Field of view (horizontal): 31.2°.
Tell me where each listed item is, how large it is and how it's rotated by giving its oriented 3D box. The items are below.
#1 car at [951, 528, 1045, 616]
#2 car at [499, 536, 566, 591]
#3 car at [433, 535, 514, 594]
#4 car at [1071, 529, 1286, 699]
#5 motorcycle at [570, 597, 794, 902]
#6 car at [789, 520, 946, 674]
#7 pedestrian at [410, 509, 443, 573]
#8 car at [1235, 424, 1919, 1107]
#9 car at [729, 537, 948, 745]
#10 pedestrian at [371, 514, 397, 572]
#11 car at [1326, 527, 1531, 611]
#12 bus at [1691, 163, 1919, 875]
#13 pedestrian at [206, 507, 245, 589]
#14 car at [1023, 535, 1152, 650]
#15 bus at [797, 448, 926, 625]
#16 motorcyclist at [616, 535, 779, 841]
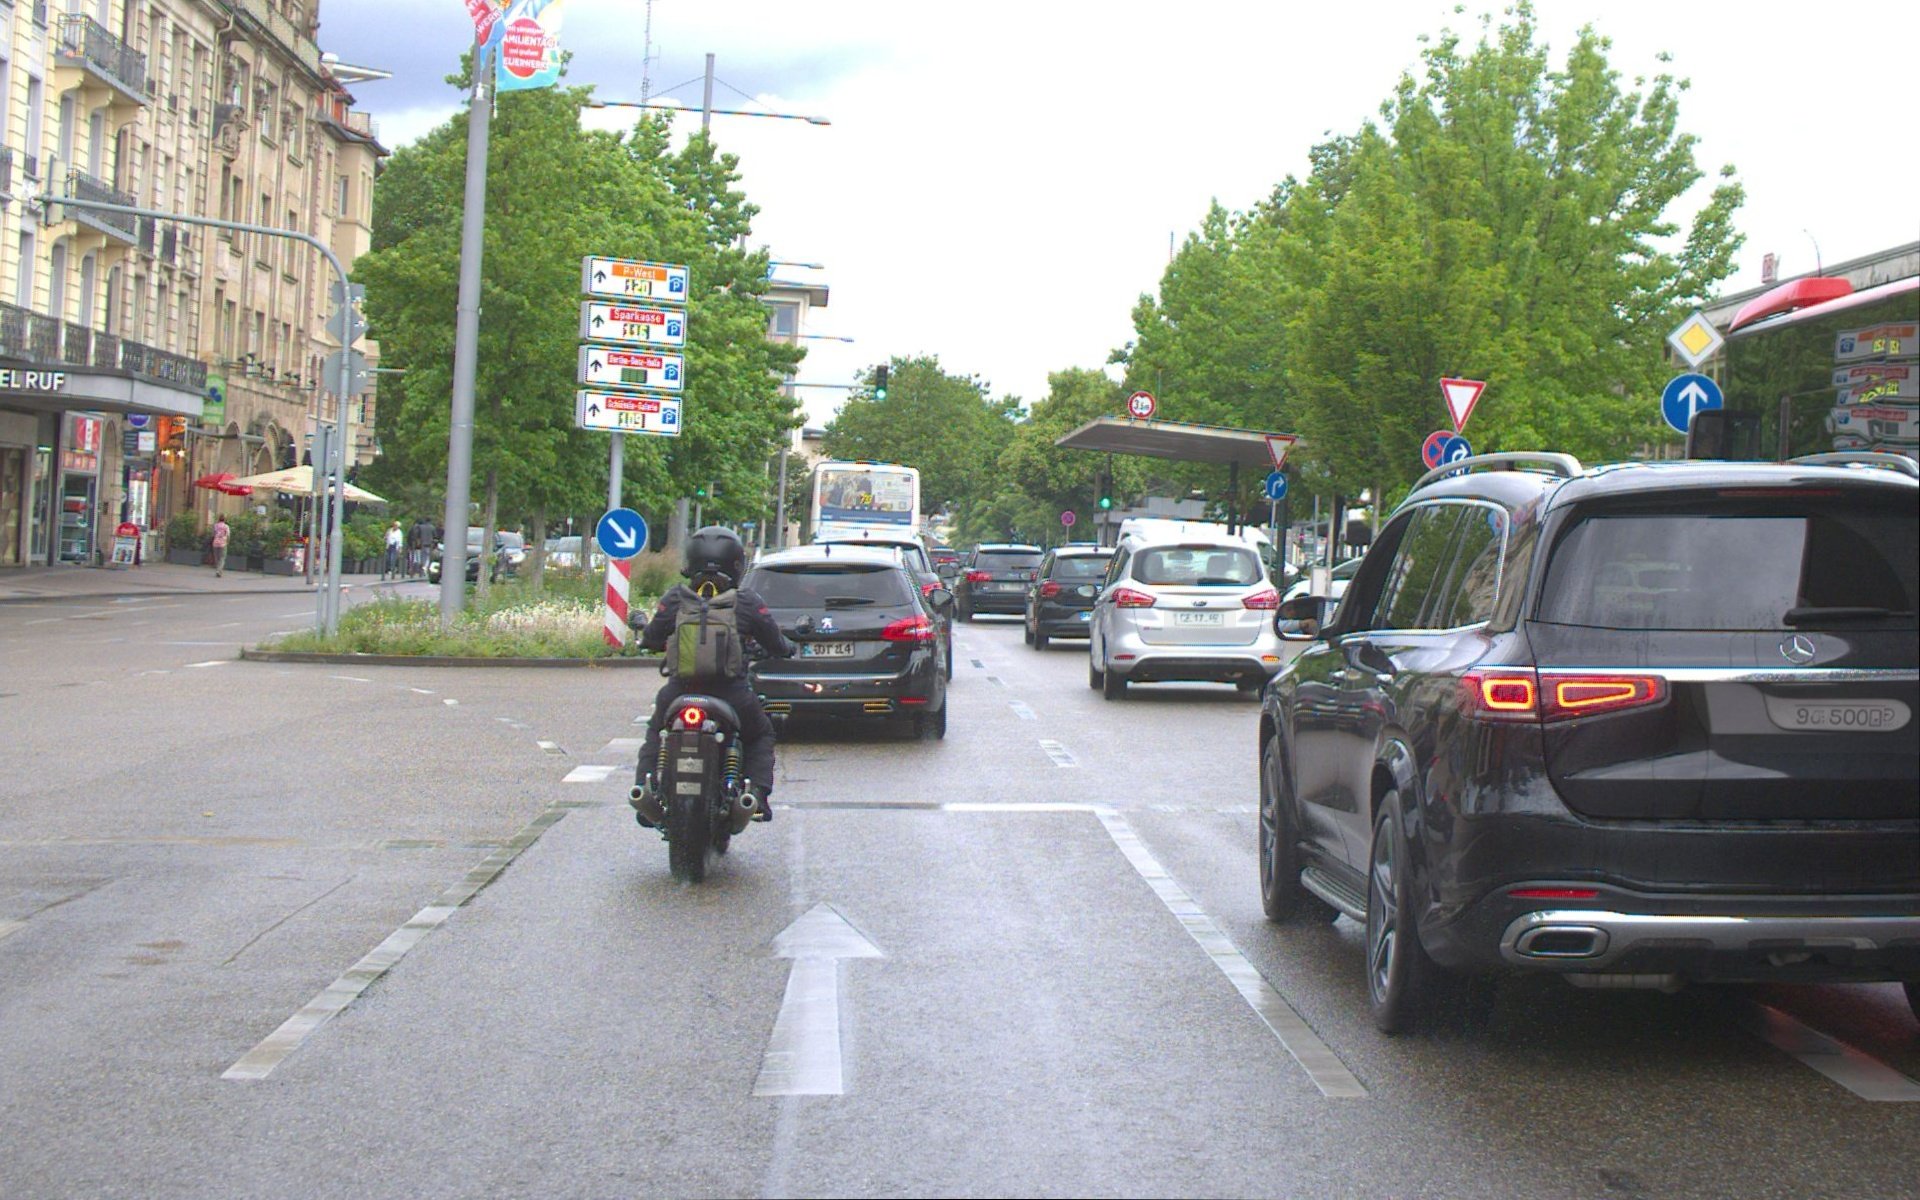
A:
[{"bbox_3d":[0.675,-0.538,62.869,1.575,1.562,3.796,0,1,-2],"label":"car"},{"bbox_3d":[-12.272,-1.069,98.849,1.575,1.562,3.430,0,1,-2],"label":"car"},{"bbox_3d":[-13.068,-0.976,92.520,1.780,1.562,3.430,0,1,-2],"label":"car"},{"bbox_3d":[2.067,0.094,33.467,1.741,1.562,3.871,0,1,-2],"label":"car"},{"bbox_3d":[-1.225,0.633,15.511,0.793,1.258,1.855,0,1,2],"label":"motorcycle"},{"bbox_3d":[-0.989,-0.065,36.656,1.575,1.562,3.871,0,1,-2],"label":"car"},{"bbox_3d":[-16.421,-1.819,105.784,0.724,1.959,0.826,1,1,-28],"label":"pedestrian"},{"bbox_3d":[2.191,0.408,11.854,1.957,1.869,4.874,0,1,-2],"label":"car"},{"bbox_3d":[-0.903,0.261,26.679,1.575,1.499,3.871,0,1,-1],"label":"car"},{"bbox_3d":[-17.624,-1.739,105.105,0.561,1.772,0.498,2,1,34],"label":"pedestrian"},{"bbox_3d":[8.926,-0.603,65.678,1.576,1.562,3.794,-1,1,-40],"label":"car"},{"bbox_3d":[6.064,-0.348,15.863,3.291,3.278,8.850,1,1,-1],"label":"bus"},{"bbox_3d":[-18.236,-1.297,85.376,0.724,2.007,0.826,1,1,-28],"label":"pedestrian"},{"bbox_3d":[1.767,-0.141,48.707,1.575,1.562,3.871,0,1,-2],"label":"car"},{"bbox_3d":[-2.471,-1.513,84.951,2.837,3.974,11.864,2,0,-2],"label":"bus"},{"bbox_3d":[-1.184,0.385,15.616,0.641,1.343,0.689,1,1,2],"label":"motorcyclist"}]
